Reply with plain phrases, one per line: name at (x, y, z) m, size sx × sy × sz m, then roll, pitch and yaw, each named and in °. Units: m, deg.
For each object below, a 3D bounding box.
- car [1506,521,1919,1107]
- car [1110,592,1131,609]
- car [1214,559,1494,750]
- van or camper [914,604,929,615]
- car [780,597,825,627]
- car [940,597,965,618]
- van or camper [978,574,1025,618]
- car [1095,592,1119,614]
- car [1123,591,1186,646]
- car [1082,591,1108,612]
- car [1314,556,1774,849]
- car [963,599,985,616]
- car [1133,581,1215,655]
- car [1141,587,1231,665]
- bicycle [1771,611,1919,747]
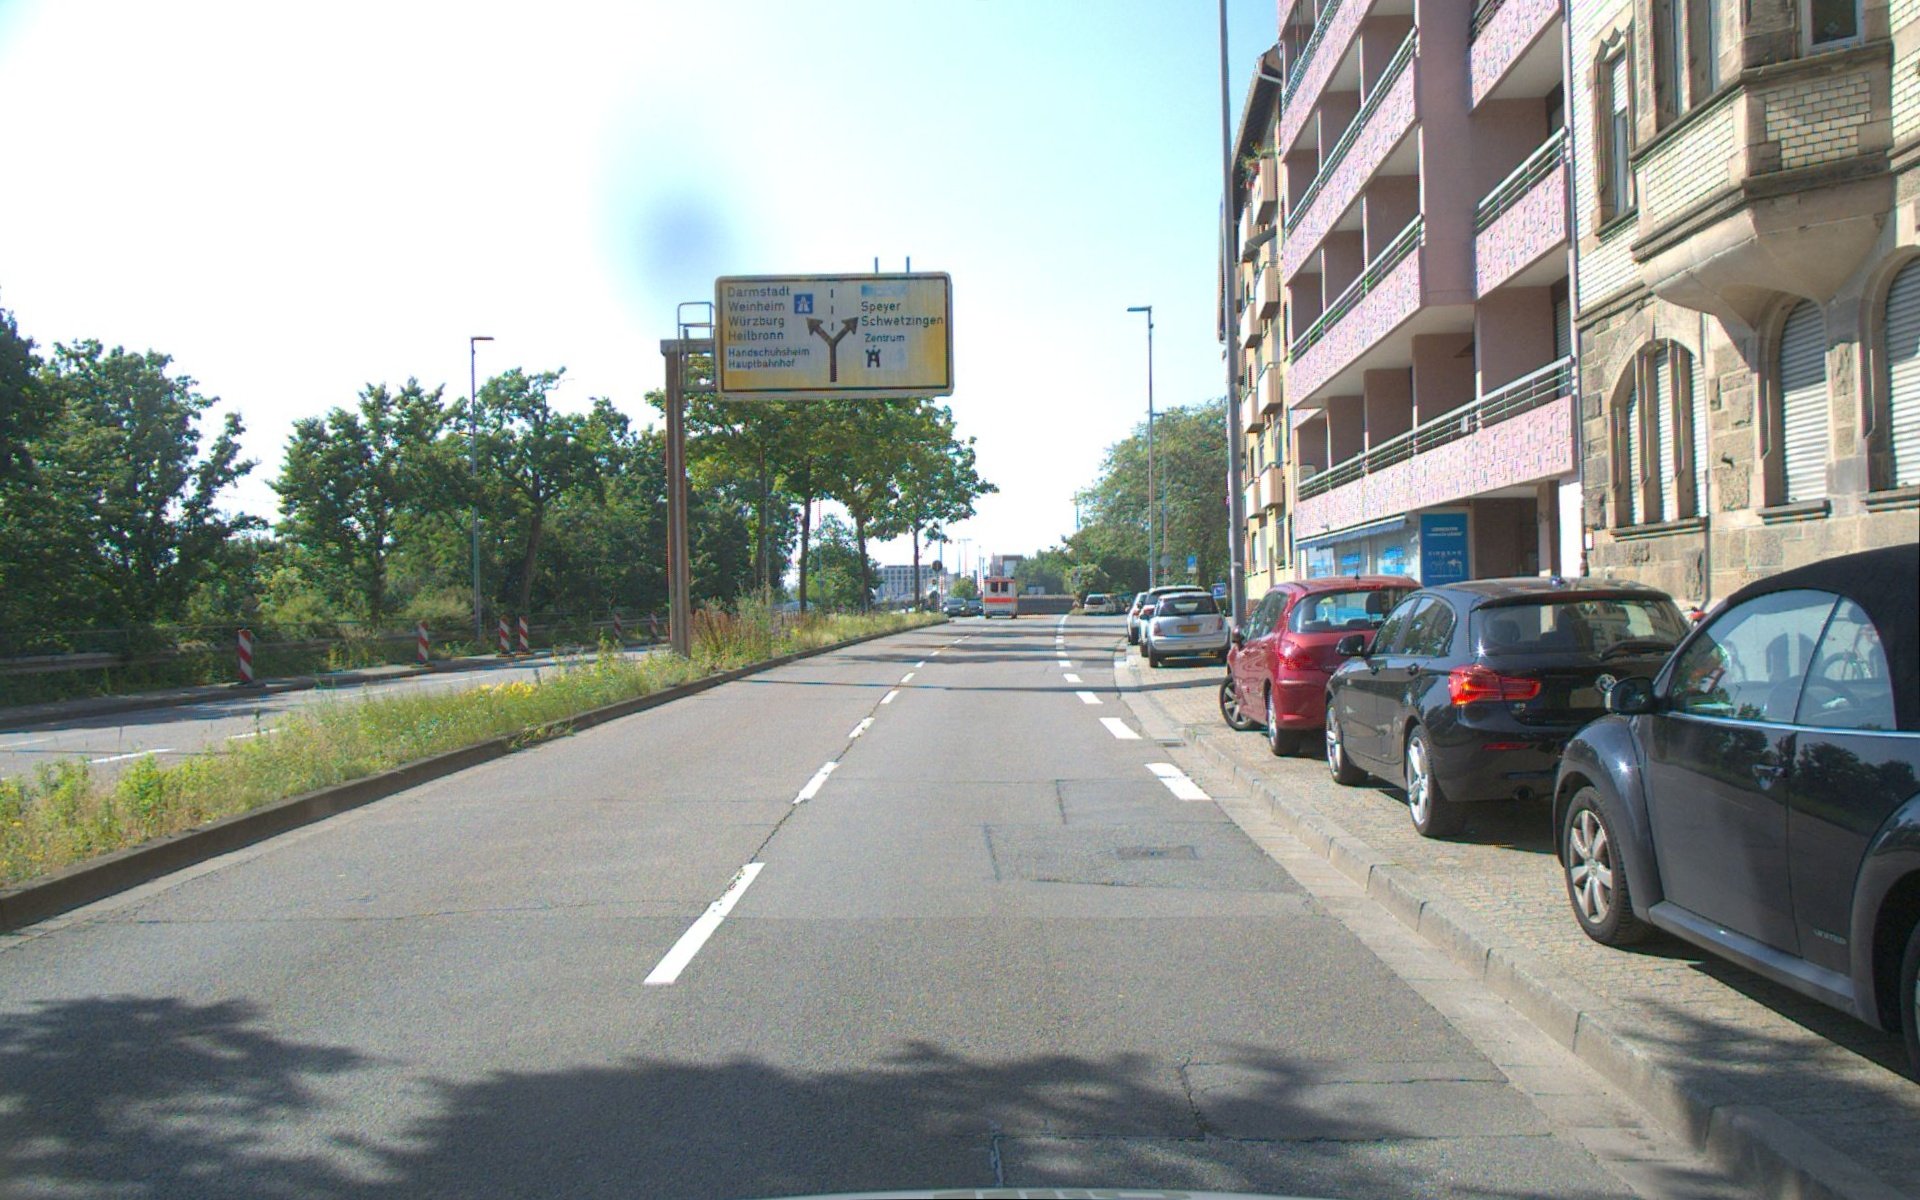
car at (3.283, 0.531, 5.421) m, size 1.608 × 1.527 × 4.010 m, roll -2°, pitch 0°, yaw 0°
car at (14.712, 0.053, 151.198) m, size 1.628 × 1.538 × 3.792 m, roll 1°, pitch 0°, yaw 9°
car at (3.576, 0.457, 15.722) m, size 1.748 × 1.508 × 4.001 m, roll -2°, pitch 0°, yaw 1°
van or camper at (-4.920, 1.234, 211.683) m, size 1.436 × 1.373 × 4.632 m, roll -1°, pitch 0°, yaw 3°
car at (-8.509, 0.625, 89.848) m, size 1.611 × 1.441 × 3.973 m, roll -5°, pitch 0°, yaw 5°
car at (-0.559, 0.575, 130.286) m, size 1.760 × 1.557 × 4.001 m, roll -1°, pitch 0°, yaw 2°
van or camper at (2.754, -0.256, 109.173) m, size 2.247 × 2.838 × 5.576 m, roll -1°, pitch 0°, yaw 10°
car at (11.585, 0.247, 129.896) m, size 1.734 × 1.607 × 4.189 m, roll -2°, pitch 0°, yaw 6°
car at (5.677, 0.530, 48.541) m, size 1.719 × 1.532 × 4.130 m, roll 0°, pitch 0°, yaw 5°
car at (9.817, 0.093, 119.905) m, size 1.585 × 1.532 × 3.464 m, roll 0°, pitch 0°, yaw 9°
car at (3.467, 0.534, 10.640) m, size 1.608 × 1.478 × 4.128 m, roll -2°, pitch 0°, yaw 2°
car at (1.314, 0.706, 154.245) m, size 1.726 × 1.500 × 4.087 m, roll -2°, pitch 0°, yaw 5°
car at (4.948, 0.392, 38.661) m, size 1.699 × 1.568 × 4.356 m, roll -2°, pitch 0°, yaw 5°
car at (4.576, 0.489, 33.875) m, size 1.643 × 1.433 × 3.433 m, roll -3°, pitch 0°, yaw 6°
bicycle at (7.028, 0.589, 13.054) m, size 0.497 × 0.987 × 1.653 m, roll -2°, pitch 0°, yaw 3°
